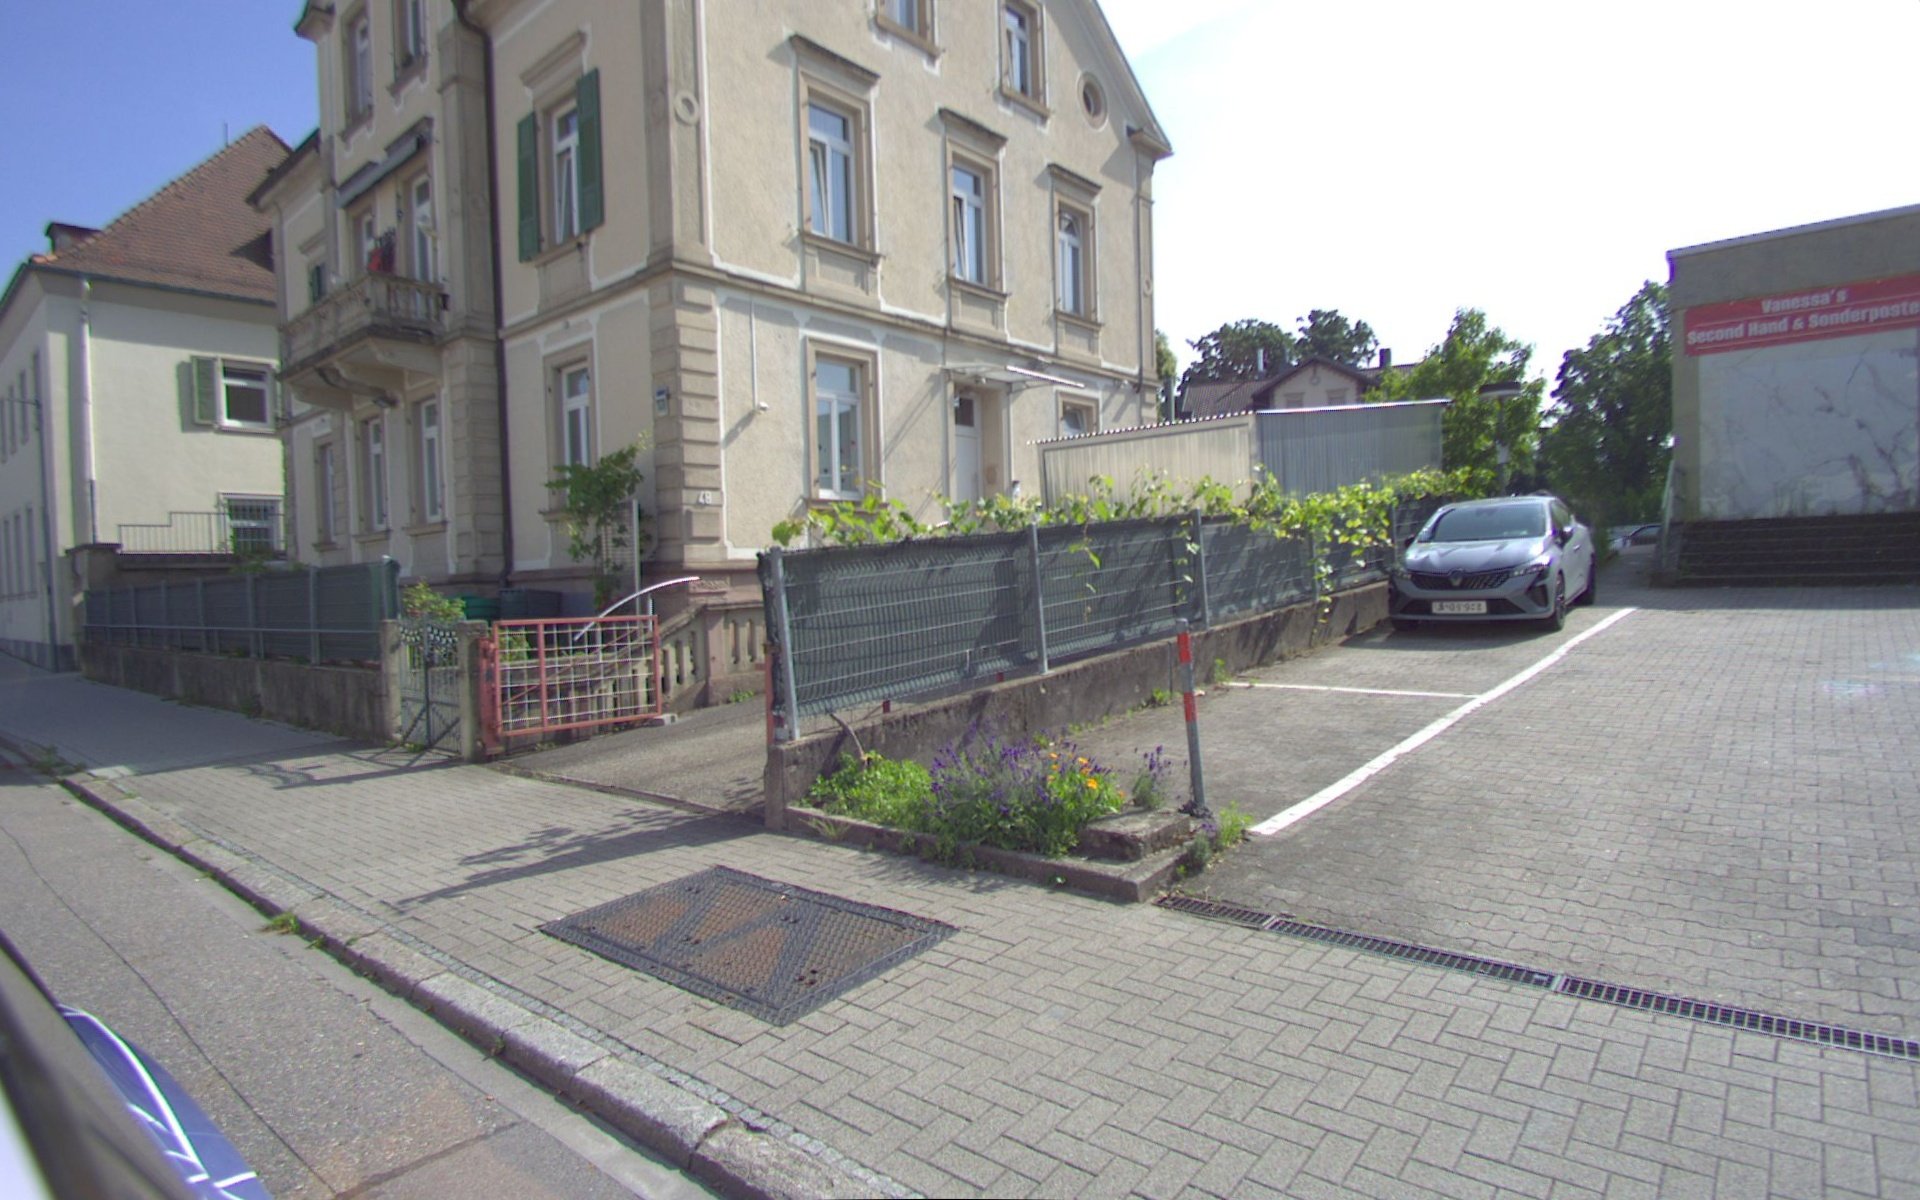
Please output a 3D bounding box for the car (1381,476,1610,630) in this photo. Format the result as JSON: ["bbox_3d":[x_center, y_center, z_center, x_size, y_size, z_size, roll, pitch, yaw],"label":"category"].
[{"bbox_3d":[6.490,-0.627,12.051,1.704,1.426,3.796,-1,6,39],"label":"car"}]
